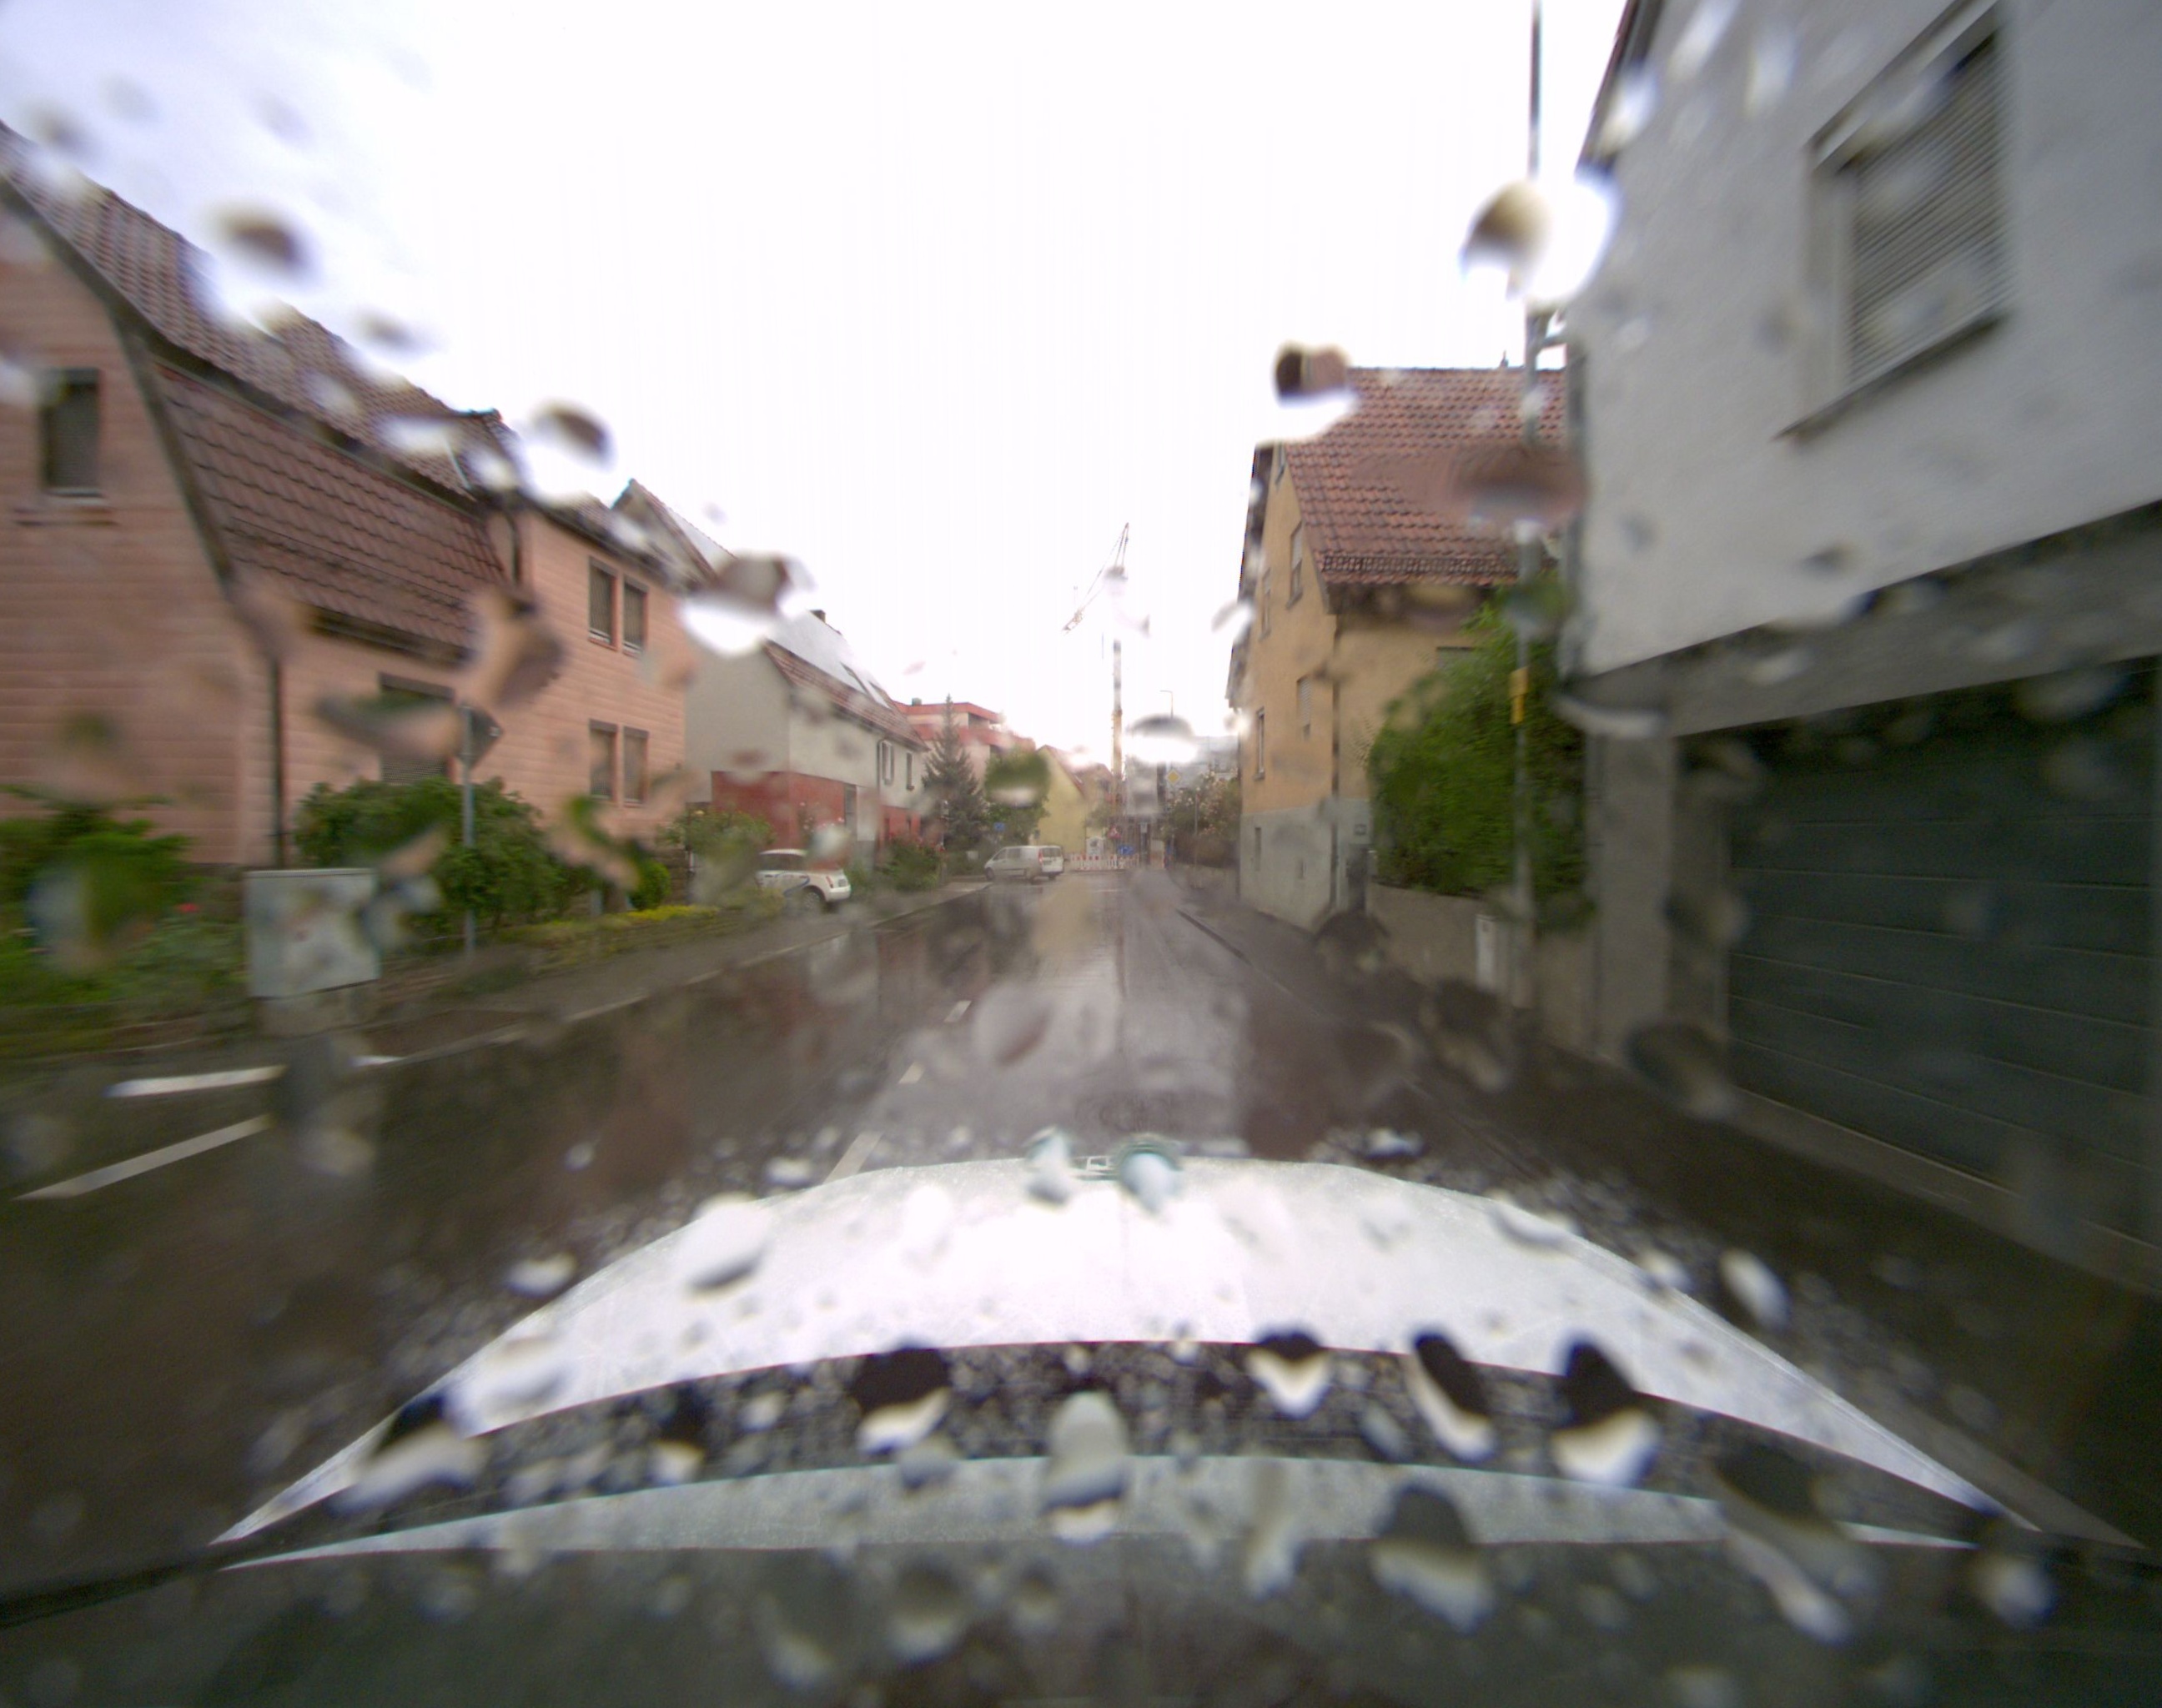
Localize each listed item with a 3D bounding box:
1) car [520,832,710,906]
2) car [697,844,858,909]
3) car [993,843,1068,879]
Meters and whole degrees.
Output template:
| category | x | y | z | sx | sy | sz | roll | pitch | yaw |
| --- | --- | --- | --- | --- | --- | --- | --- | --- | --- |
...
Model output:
| category | x | y | z | sx | sy | sz | roll | pitch | yaw |
| --- | --- | --- | --- | --- | --- | --- | --- | --- | --- |
| car | -12.371 | 0.390 | 21.803 | 3.974 | 1.764 | 1.758 | 2 | 0 | 0 |
| car | -7.897 | 0.569 | 21.425 | 3.531 | 1.529 | 1.664 | 2 | 0 | 2 |
| car | -2.833 | 0.381 | 45.086 | 2.200 | 1.869 | 3.952 | 0 | -1 | -41 |
